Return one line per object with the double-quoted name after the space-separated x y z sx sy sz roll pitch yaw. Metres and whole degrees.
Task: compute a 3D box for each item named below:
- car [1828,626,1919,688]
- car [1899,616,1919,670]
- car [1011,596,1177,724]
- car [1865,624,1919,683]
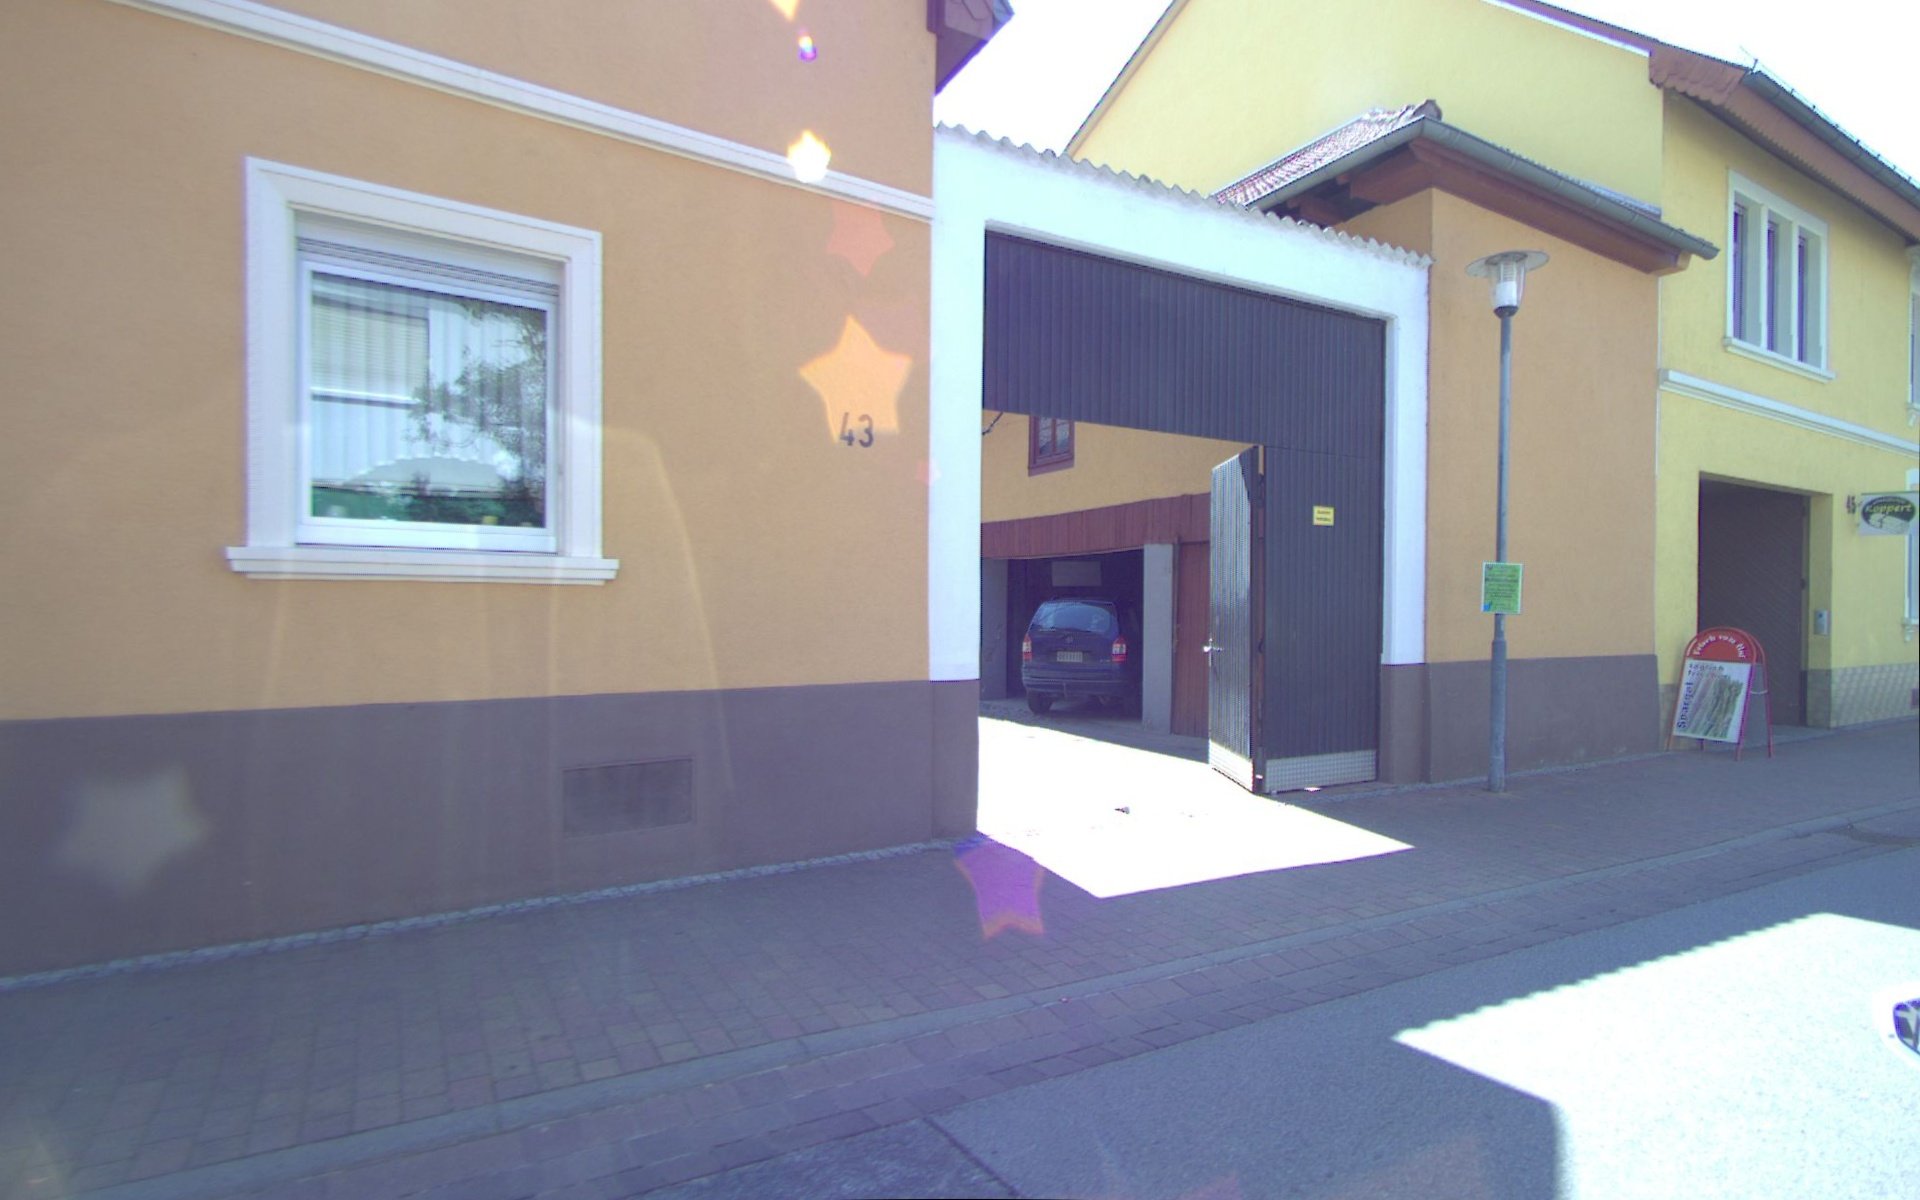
24.009 1.371 24.451 1.952 1.450 3.963 -1 -1 -34 "car"
30.160 1.293 28.734 1.912 1.575 4.482 1 0 -30 "car"
2.126 0.845 15.128 1.734 1.683 3.527 -2 -2 20 "car"
26.110 1.359 25.758 1.787 1.470 3.967 -1 -2 -31 "car"
